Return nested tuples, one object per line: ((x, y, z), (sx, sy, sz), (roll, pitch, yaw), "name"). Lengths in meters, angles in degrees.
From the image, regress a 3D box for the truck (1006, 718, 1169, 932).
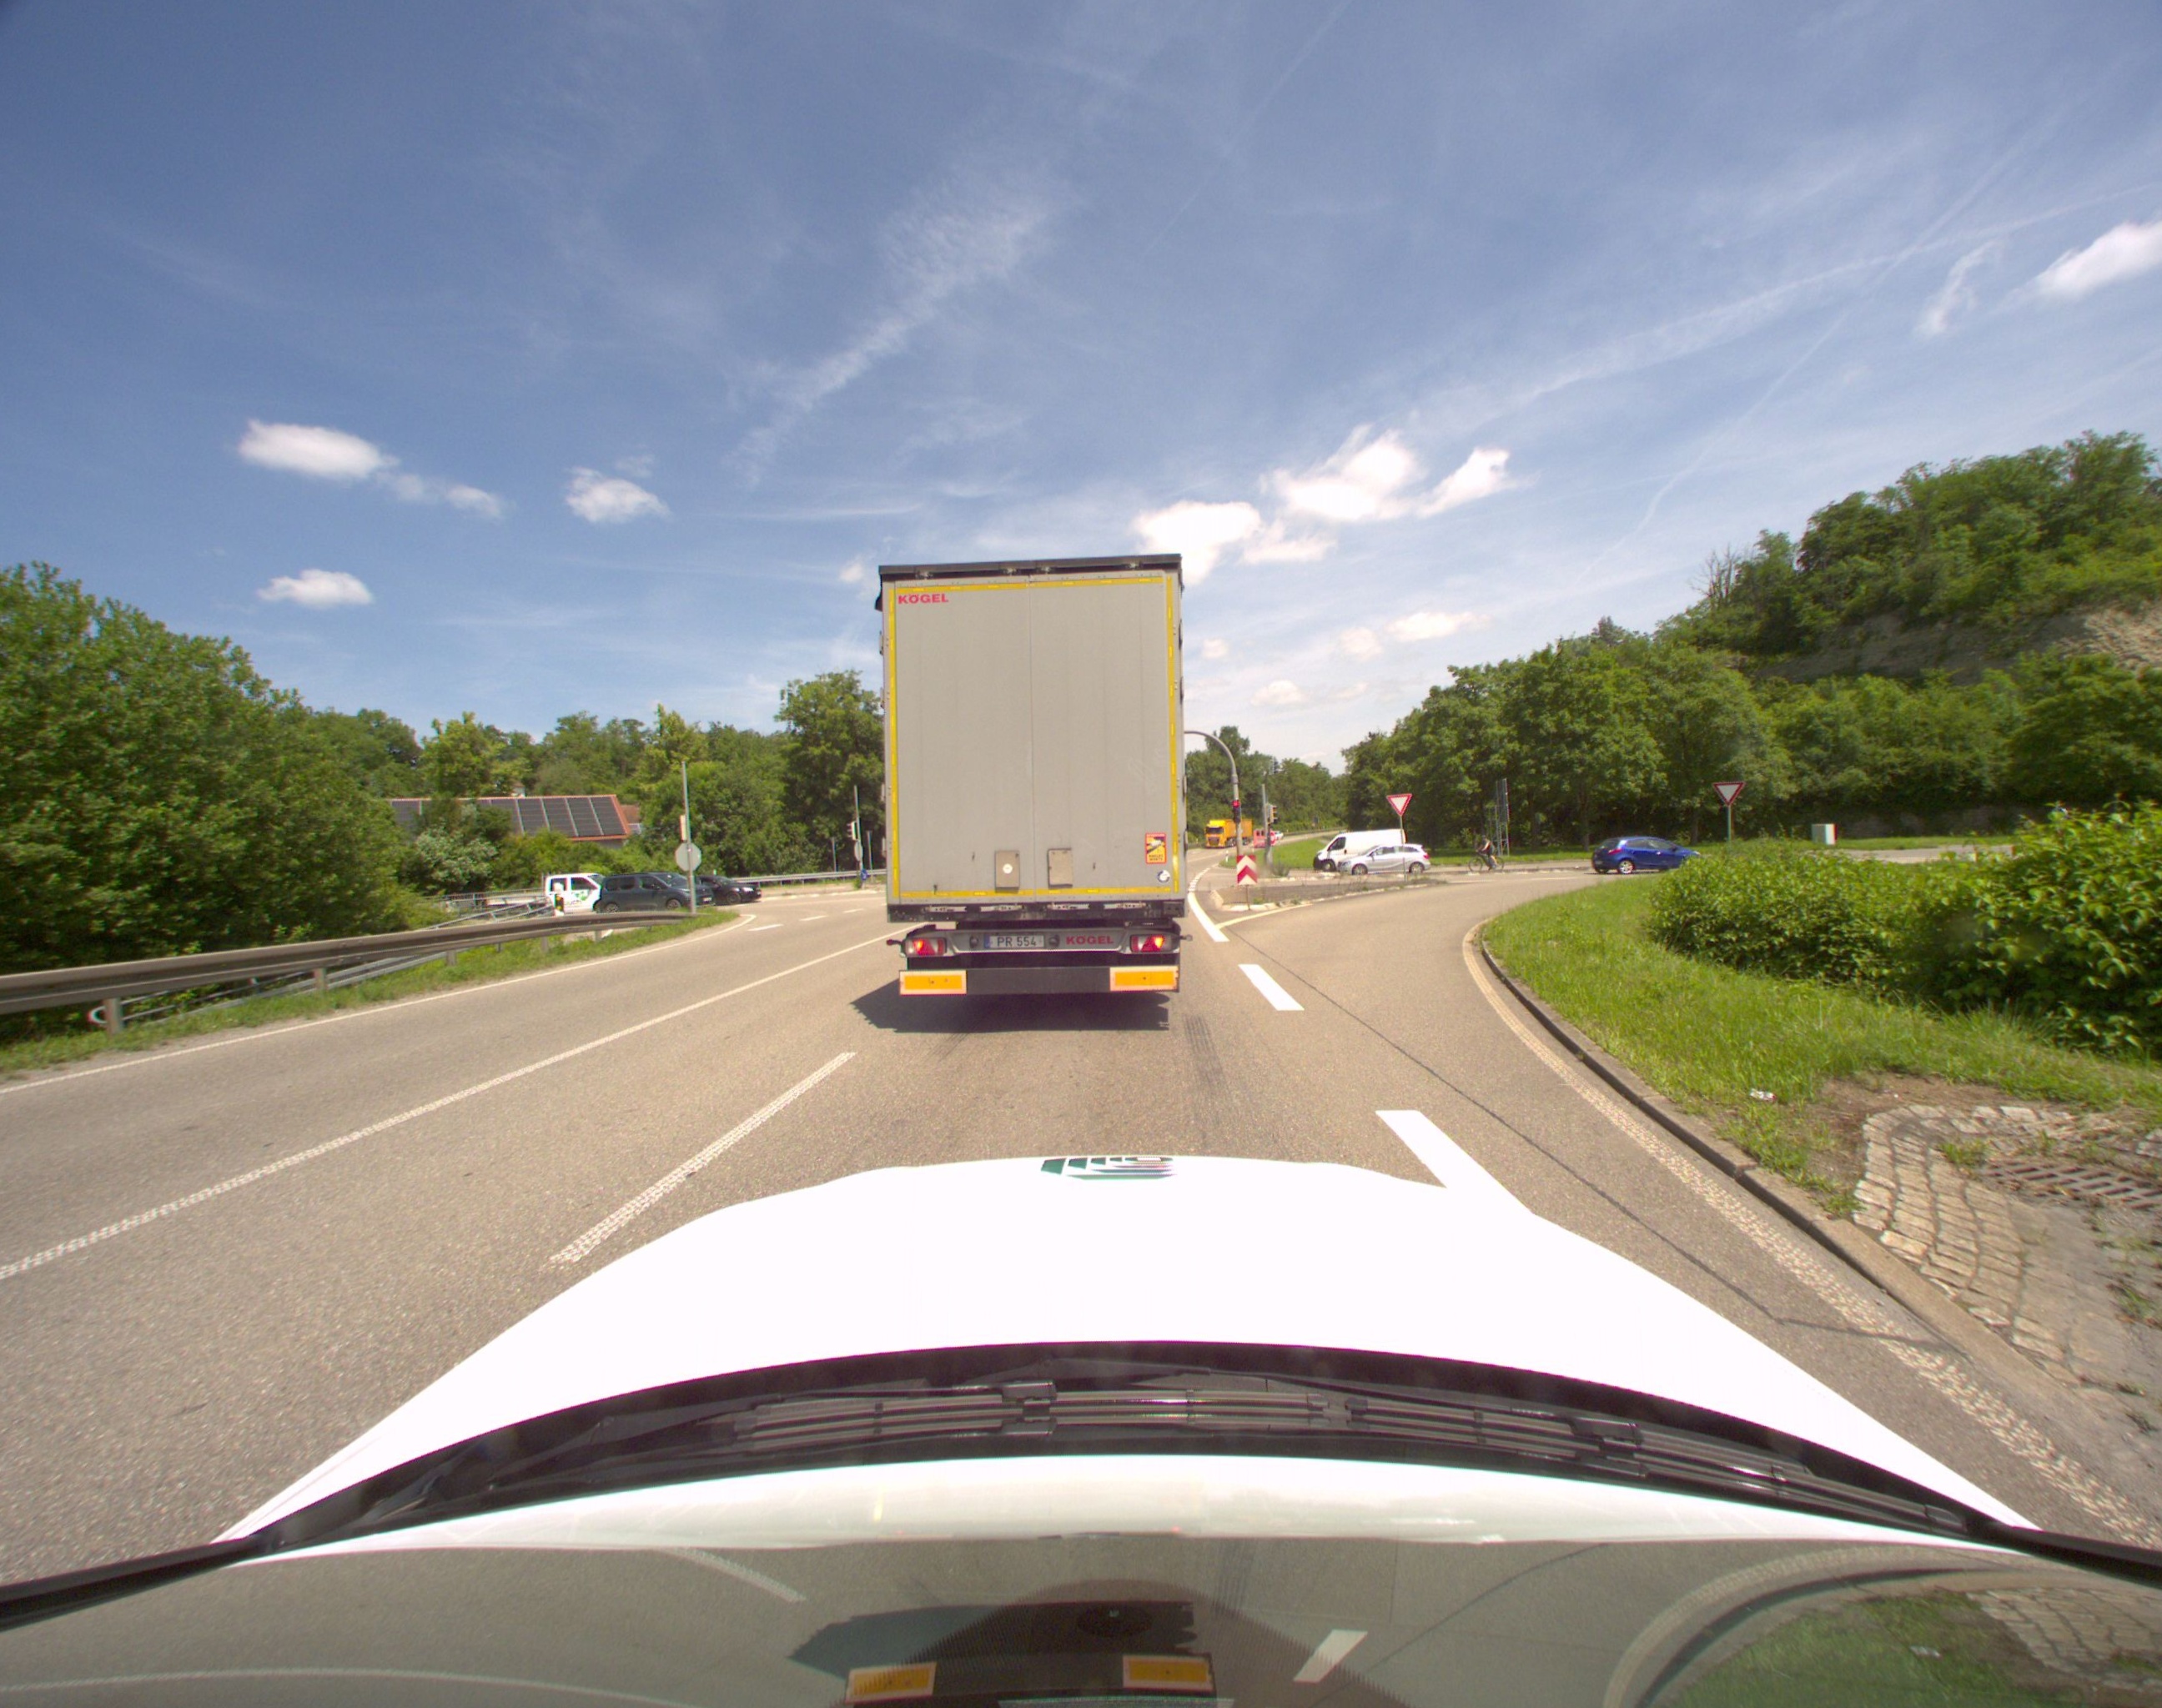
((0.343, -0.560, 19.027), (3.025, 4.034, 6.636), (-2, 0, 4), "truck")

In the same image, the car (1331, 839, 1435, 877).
((14.718, 0.221, 39.923), (4.405, 1.718, 2.003), (-1, -2, 6), "car")

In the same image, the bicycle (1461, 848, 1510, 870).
((19.557, 0.256, 39.377), (1.983, 0.995, 0.797), (-1, -2, -1), "bicycle")

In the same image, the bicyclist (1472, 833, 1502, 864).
((19.630, -0.275, 39.361), (1.002, 1.448, 0.795), (-1, -2, -1), "bicyclist")

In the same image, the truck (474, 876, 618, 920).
((-23.568, 1.925, 36.091), (4.877, 1.791, 2.036), (0, -2, -11), "truck")

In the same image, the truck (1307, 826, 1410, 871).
((15.479, -0.266, 45.549), (5.096, 2.296, 2.012), (-2, -2, 29), "truck")

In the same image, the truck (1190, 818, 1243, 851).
((19.799, -2.874, 118.127), (4.967, 4.362, 11.830), (-2, 1, 22), "truck")

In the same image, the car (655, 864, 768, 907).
((-16.733, 1.430, 36.980), (4.206, 1.770, 2.006), (-2, -1, 11), "car")

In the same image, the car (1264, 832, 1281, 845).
((34.416, -2.790, 146.359), (1.975, 2.013, 4.025), (-2, 2, 28), "car")

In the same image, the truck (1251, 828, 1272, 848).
((25.700, -2.280, 115.999), (2.475, 2.727, 6.056), (-1, 0, 16), "truck")

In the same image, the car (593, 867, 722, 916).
((-17.032, 1.492, 32.850), (4.206, 1.770, 2.006), (-2, -1, 11), "car")

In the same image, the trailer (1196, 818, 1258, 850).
((22.907, -3.058, 125.755), (4.967, 4.362, 20.952), (-2, 1, 22), "trailer")

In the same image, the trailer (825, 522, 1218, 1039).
((-0.074, -0.569, 12.777), (3.038, 4.034, 12.571), (-2, 0, 4), "trailer")

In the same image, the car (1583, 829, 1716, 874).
((22.137, -0.067, 31.825), (3.829, 1.613, 1.882), (-1, -2, 2), "car")
